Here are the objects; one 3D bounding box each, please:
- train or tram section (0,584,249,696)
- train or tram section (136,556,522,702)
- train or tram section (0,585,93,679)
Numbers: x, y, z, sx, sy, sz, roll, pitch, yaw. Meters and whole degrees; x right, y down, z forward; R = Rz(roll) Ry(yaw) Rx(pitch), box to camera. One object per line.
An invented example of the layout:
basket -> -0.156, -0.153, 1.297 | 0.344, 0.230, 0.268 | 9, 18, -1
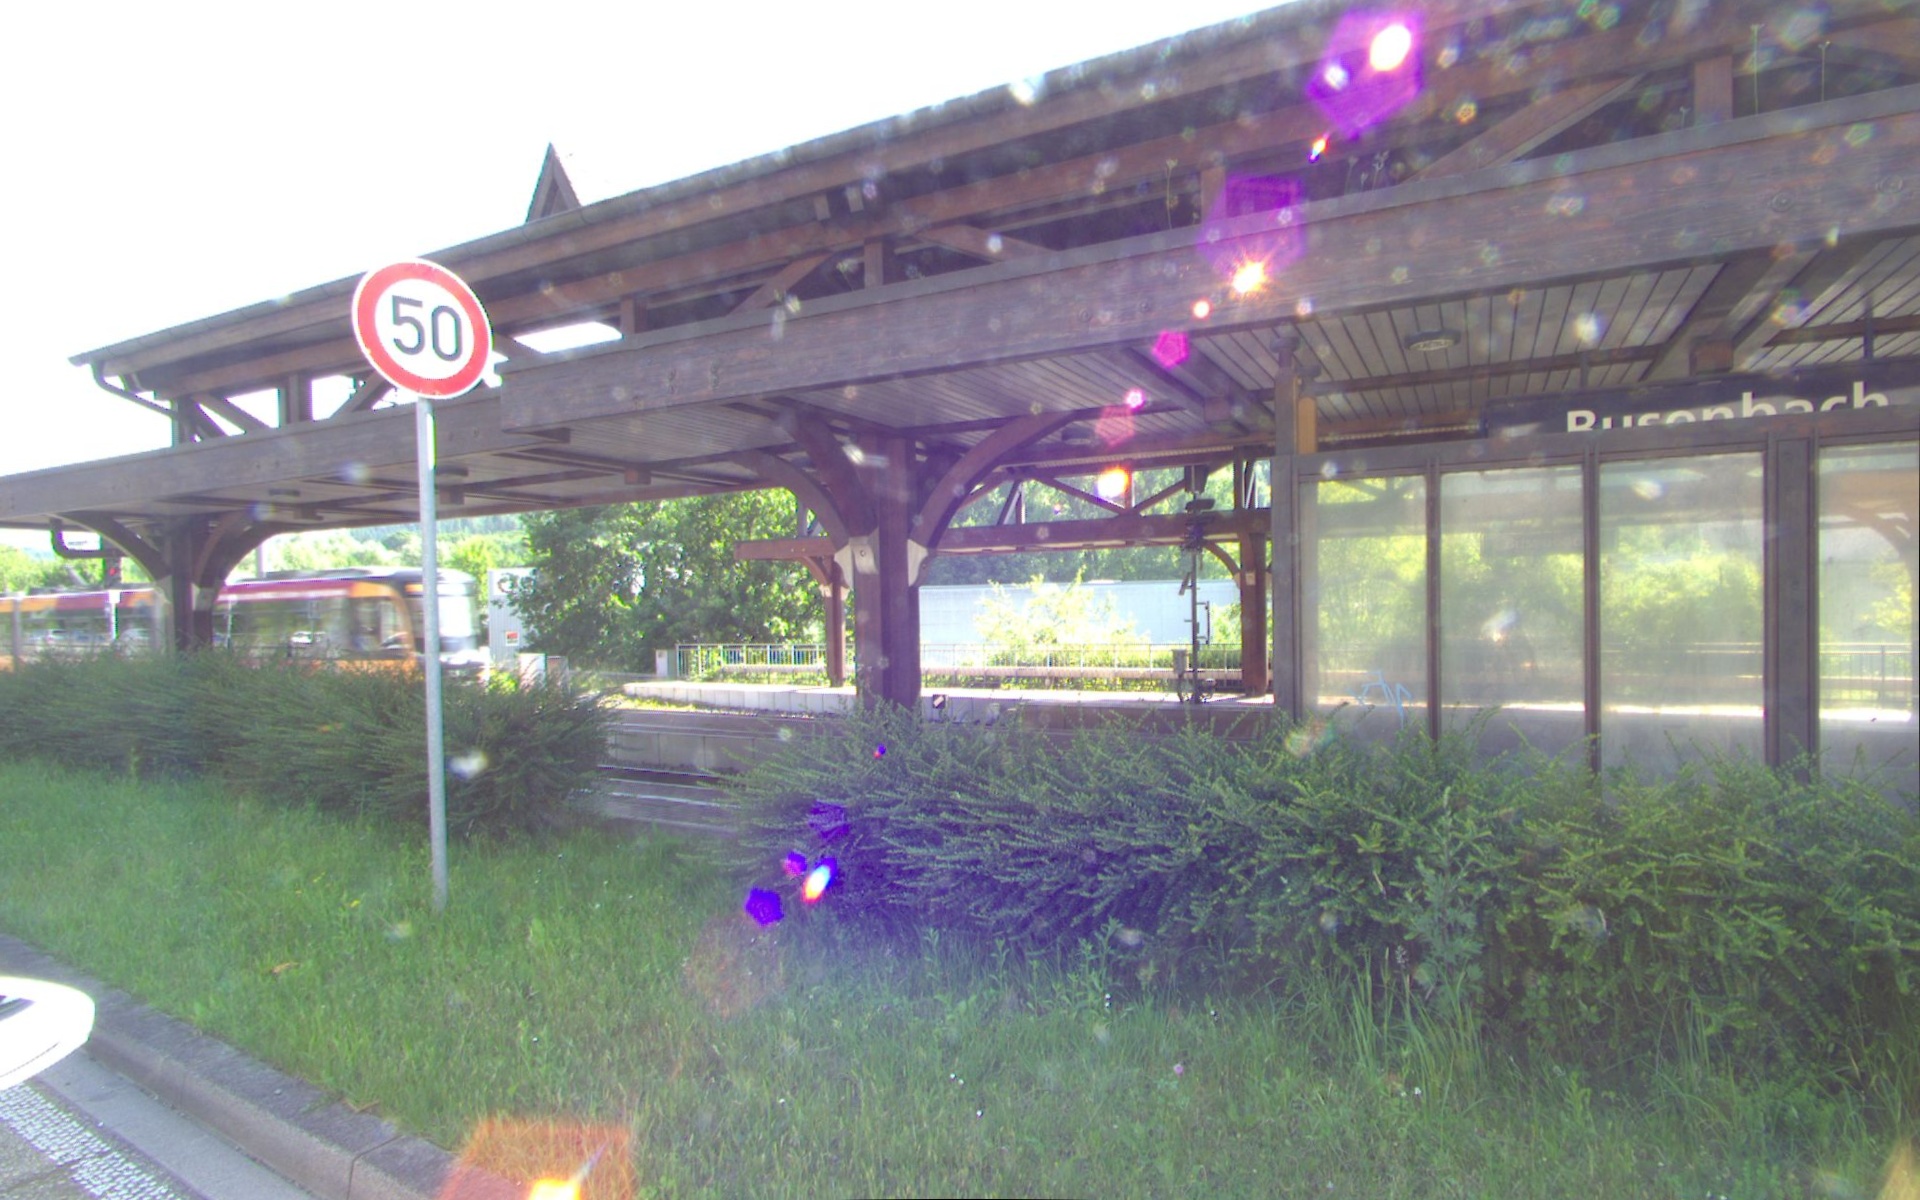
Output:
train or tram section -> -29.166, 1.379, 34.658 | 11.870, 3.406, 2.784 | -1, -2, 31
train or tram section -> -18.140, 0.776, 28.093 | 14.137, 3.408, 2.853 | -1, -1, 30
train or tram section -> -39.363, 1.212, 40.519 | 11.867, 3.407, 2.753 | 0, -2, 30
